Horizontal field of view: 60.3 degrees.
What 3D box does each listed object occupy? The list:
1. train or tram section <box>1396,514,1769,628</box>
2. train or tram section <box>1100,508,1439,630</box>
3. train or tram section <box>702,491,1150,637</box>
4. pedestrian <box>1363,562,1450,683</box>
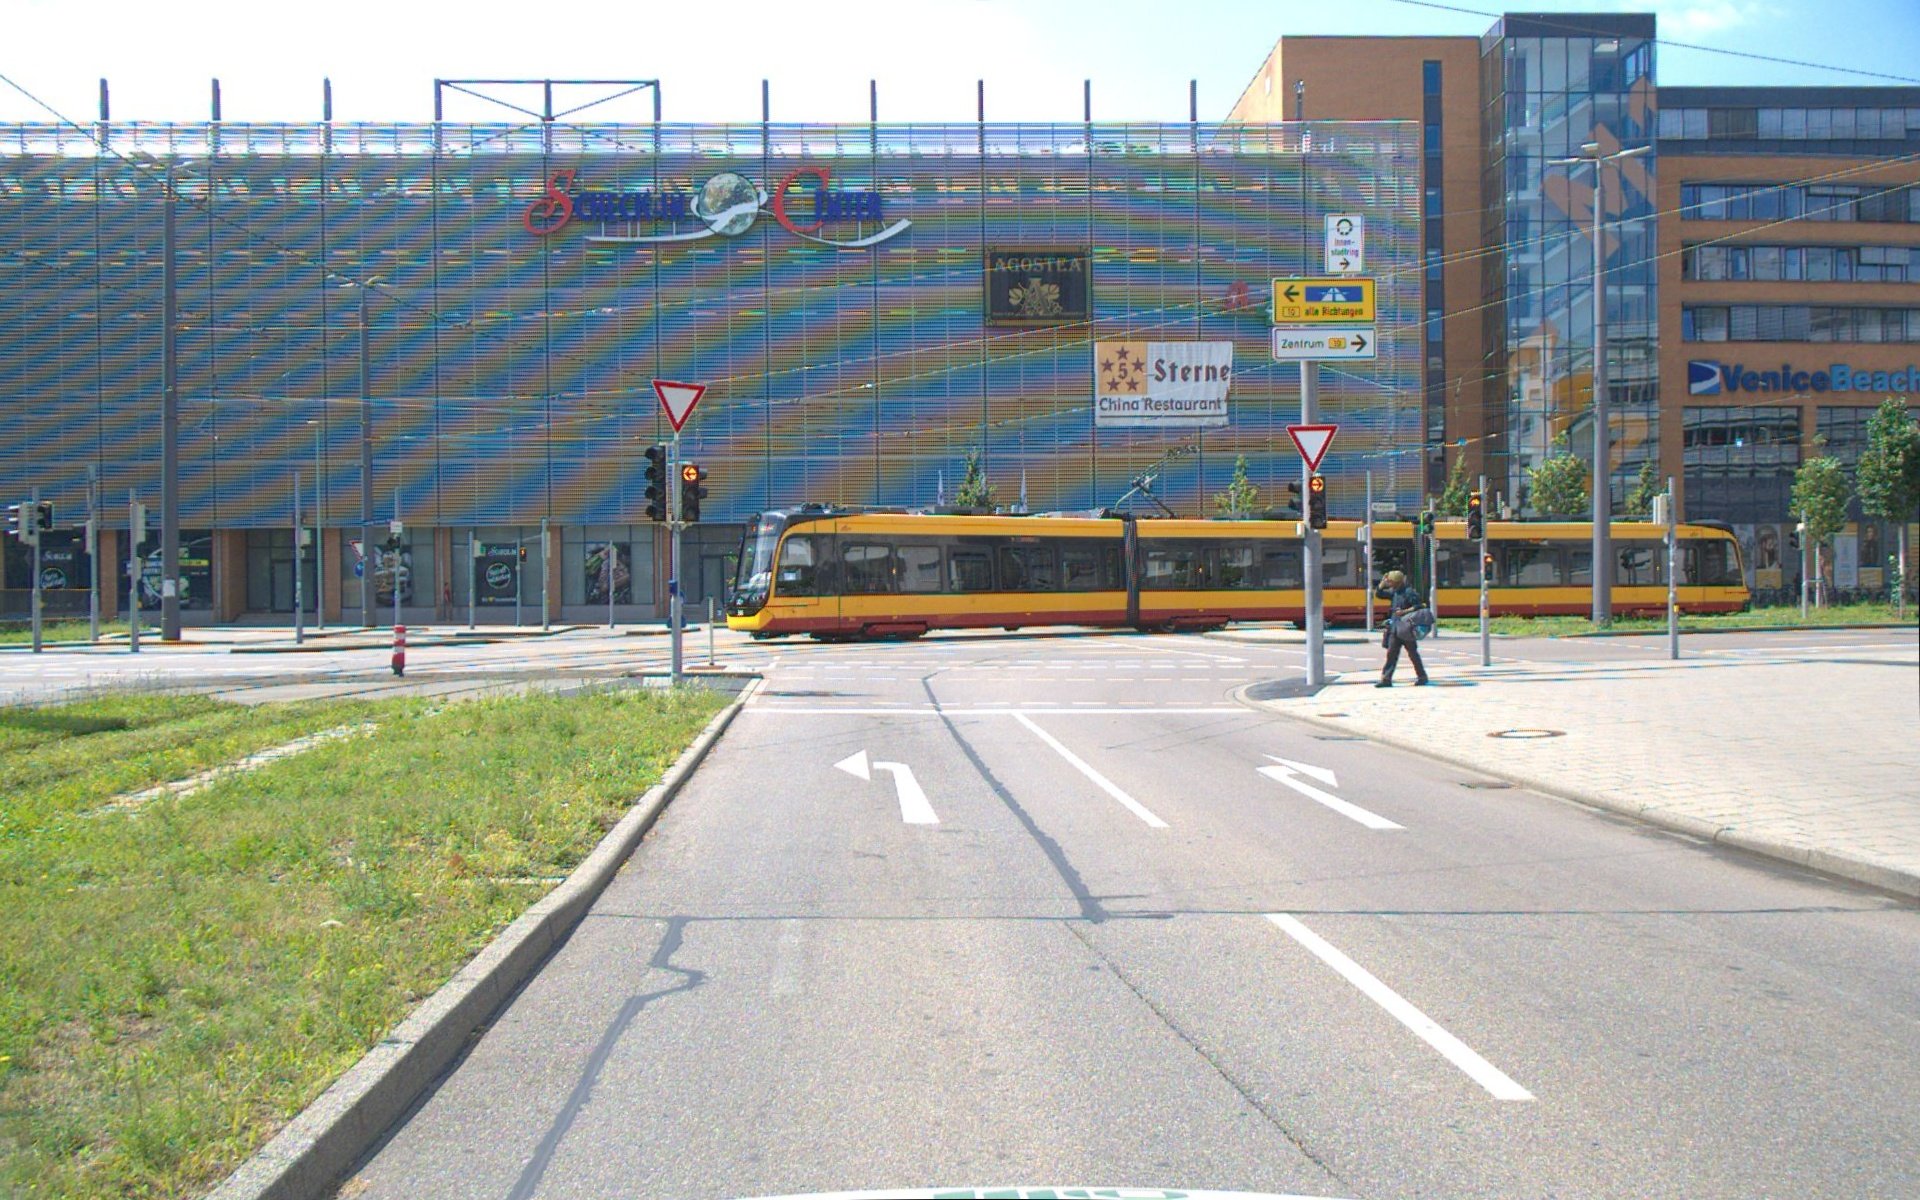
[{"bbox_3d":[21.273,-0.934,56.520,12.378,3.684,3.055,0,0,-14],"label":"train or tram section"},{"bbox_3d":[9.969,-0.933,52.939,10.804,3.666,3.045,0,0,-22],"label":"train or tram section"},{"bbox_3d":[-0.582,-0.924,46.643,13.355,3.662,3.184,0,1,-37],"label":"train or tram section"},{"bbox_3d":[6.579,0.330,24.379,0.798,1.732,0.909,-1,0,-31],"label":"pedestrian"}]
